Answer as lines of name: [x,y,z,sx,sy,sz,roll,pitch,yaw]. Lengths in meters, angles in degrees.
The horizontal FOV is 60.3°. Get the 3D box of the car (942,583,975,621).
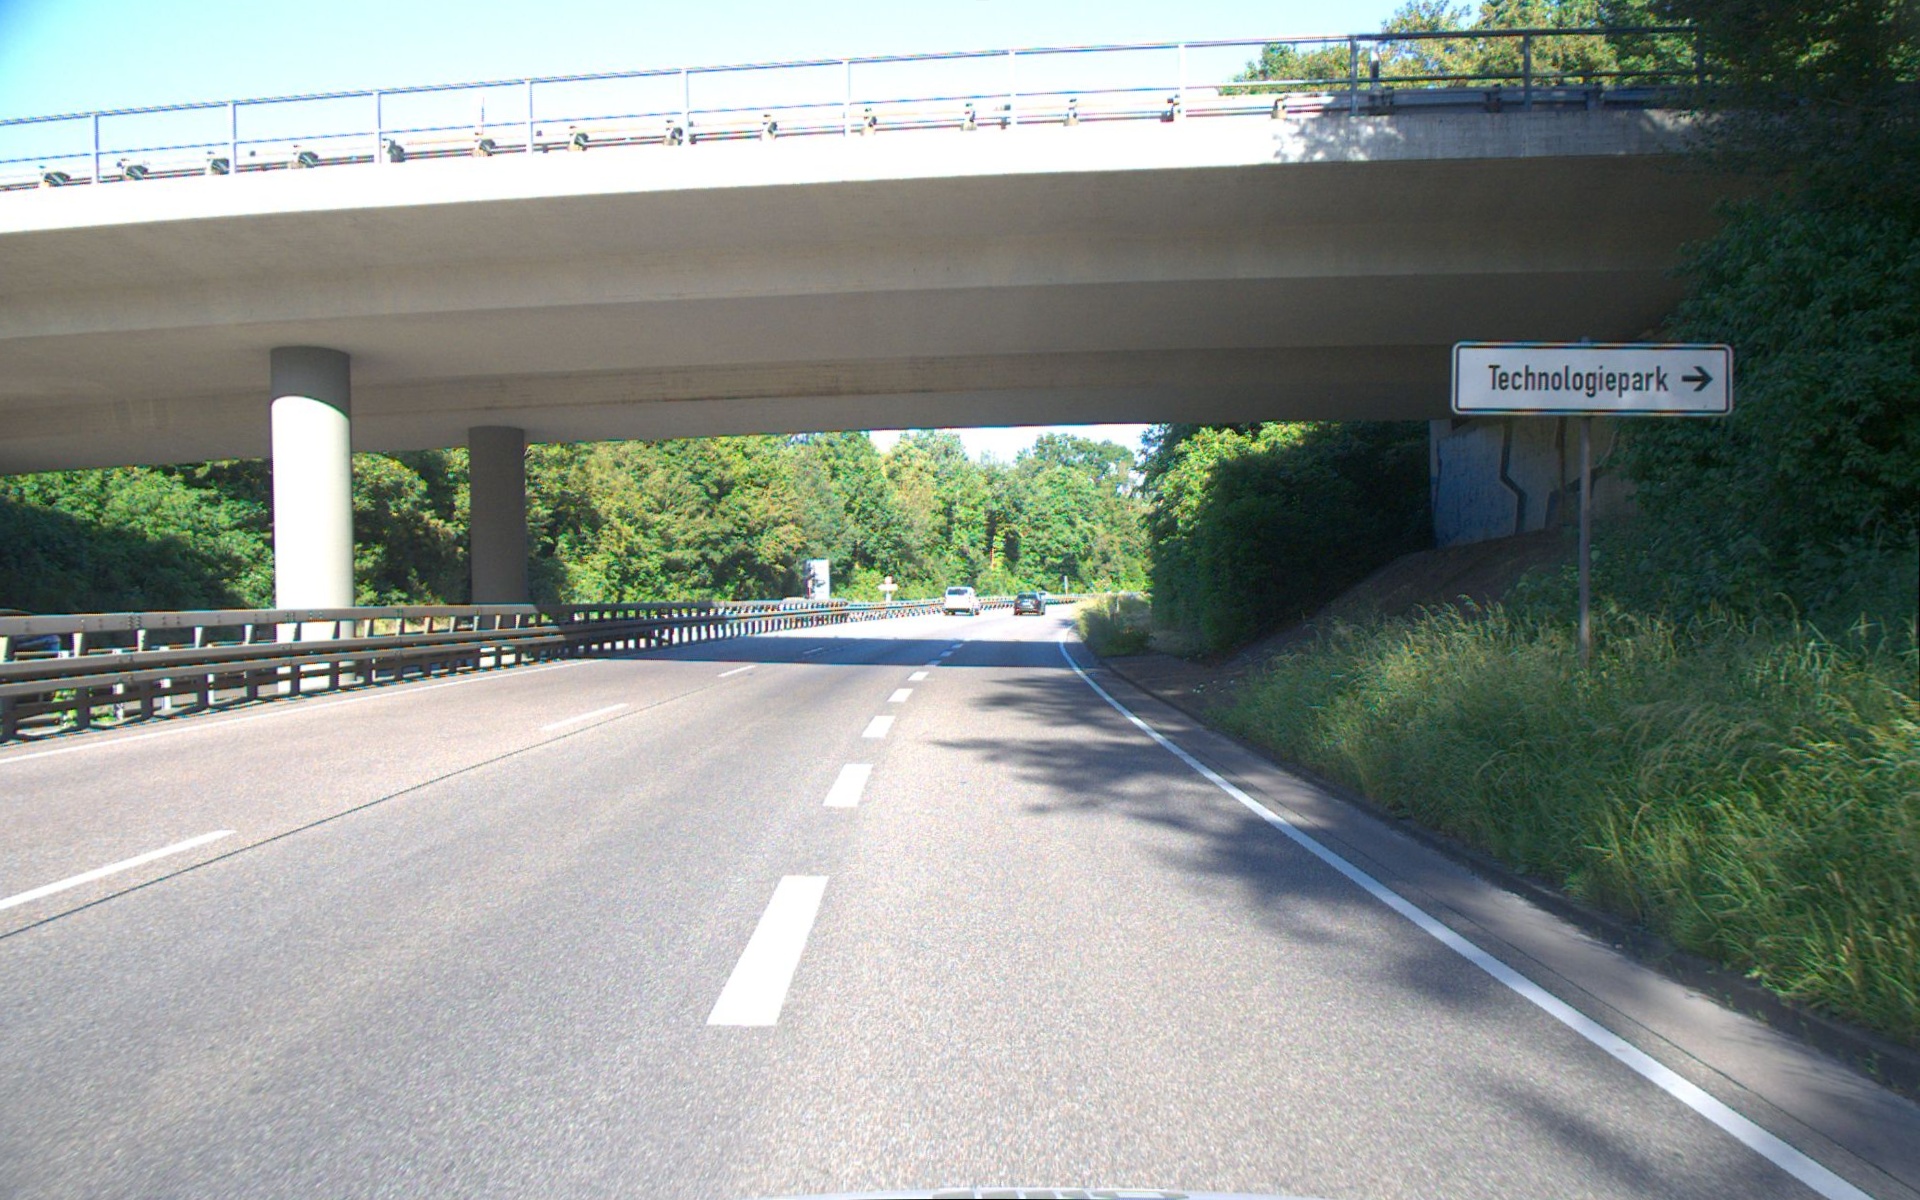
car: [-0.085,0.128,104.321,1.952,2.317,4.000,-1,0,1]

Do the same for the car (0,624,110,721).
car: [-17.645,1.295,29.925,1.953,1.624,4.995,-1,0,0]

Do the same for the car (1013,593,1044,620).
car: [4.547,0.435,108.870,1.702,1.691,3.948,-1,0,7]
